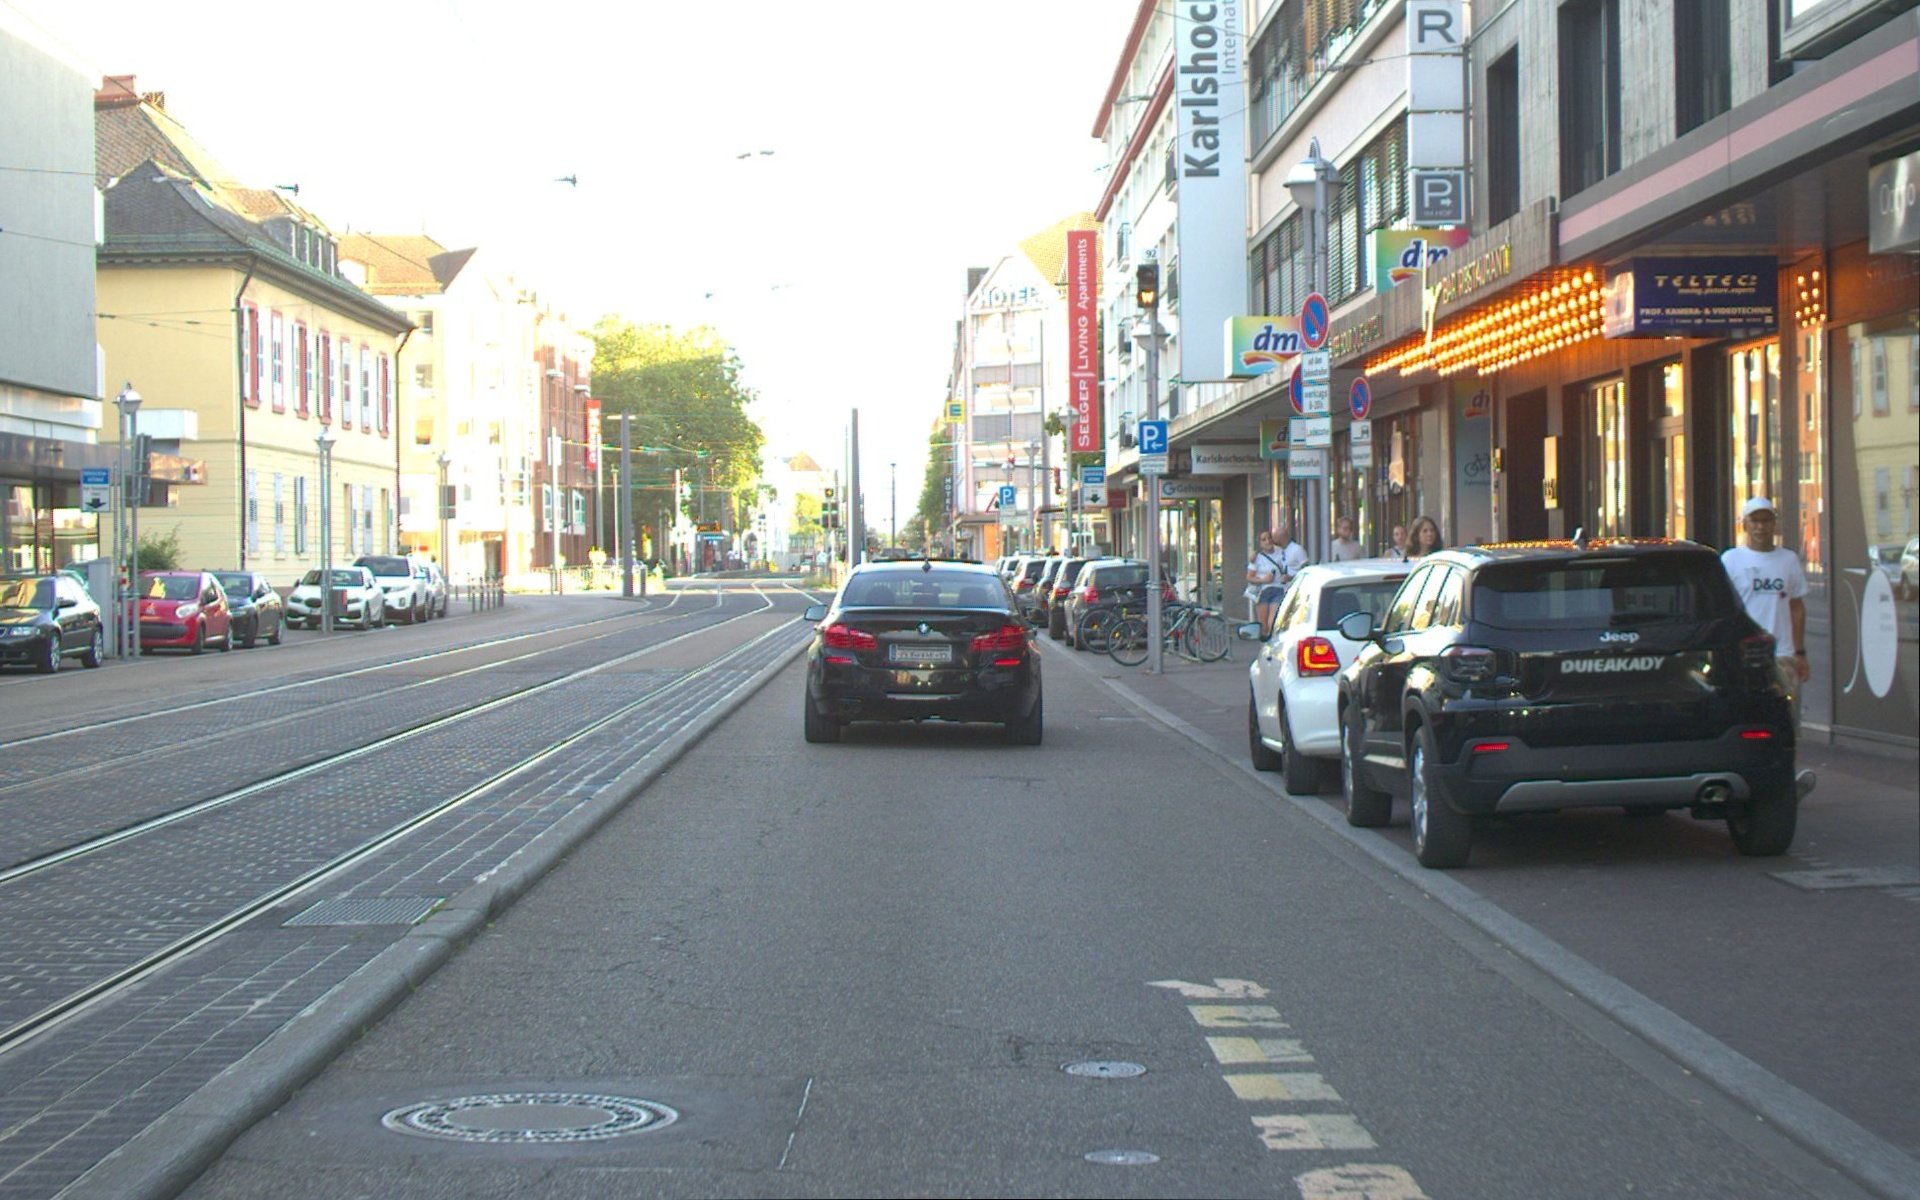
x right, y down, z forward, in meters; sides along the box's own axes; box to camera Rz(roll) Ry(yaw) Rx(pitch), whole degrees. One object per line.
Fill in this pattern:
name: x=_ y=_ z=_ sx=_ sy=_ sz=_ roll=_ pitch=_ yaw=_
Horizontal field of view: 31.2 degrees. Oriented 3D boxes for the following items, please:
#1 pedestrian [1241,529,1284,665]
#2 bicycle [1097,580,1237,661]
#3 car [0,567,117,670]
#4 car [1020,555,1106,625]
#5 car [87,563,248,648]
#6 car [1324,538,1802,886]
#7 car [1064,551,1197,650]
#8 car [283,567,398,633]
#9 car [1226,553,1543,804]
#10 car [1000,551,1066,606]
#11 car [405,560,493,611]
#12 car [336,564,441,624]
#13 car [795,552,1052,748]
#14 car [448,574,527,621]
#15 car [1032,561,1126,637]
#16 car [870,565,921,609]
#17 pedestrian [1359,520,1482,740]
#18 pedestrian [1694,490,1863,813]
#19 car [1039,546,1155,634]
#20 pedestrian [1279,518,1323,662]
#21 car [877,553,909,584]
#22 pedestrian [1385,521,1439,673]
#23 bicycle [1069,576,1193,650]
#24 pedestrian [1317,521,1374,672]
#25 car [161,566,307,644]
pedestrian: x=3.799 y=-0.043 z=43.231 sx=0.475 sy=1.693 sz=0.752 roll=-1 pitch=1 yaw=3
bicycle: x=2.792 y=0.276 z=46.497 sx=1.861 sy=1.076 sz=0.468 roll=0 pitch=-1 yaw=1
car: x=-13.995 y=0.239 z=51.056 sx=1.928 sy=1.430 sz=4.246 roll=0 pitch=1 yaw=-1
car: x=2.295 y=-0.225 z=77.094 sx=1.774 sy=1.543 sz=3.503 roll=0 pitch=0 yaw=-1
car: x=-14.051 y=0.076 z=61.173 sx=1.928 sy=1.430 sz=4.246 roll=0 pitch=1 yaw=-1
car: x=2.949 y=0.479 z=17.584 sx=1.654 sy=1.532 sz=3.886 roll=-2 pitch=1 yaw=-1
car: x=2.719 y=0.005 z=55.573 sx=1.903 sy=1.543 sz=4.000 roll=0 pitch=0 yaw=-1
car: x=-14.325 y=-0.013 z=79.698 sx=1.928 sy=1.430 sz=4.246 roll=-1 pitch=1 yaw=0
car: x=2.711 y=0.450 z=22.630 sx=1.559 sy=1.437 sz=3.709 roll=-3 pitch=1 yaw=0
car: x=2.076 y=-0.617 z=98.535 sx=1.774 sy=1.543 sz=3.503 roll=0 pitch=0 yaw=-1
car: x=-14.816 y=-0.447 z=99.878 sx=1.928 sy=1.430 sz=4.246 roll=0 pitch=1 yaw=-1
car: x=-14.201 y=-0.169 z=85.607 sx=1.928 sy=1.430 sz=4.246 roll=0 pitch=1 yaw=-1
car: x=-0.249 y=0.351 z=28.473 sx=1.953 sy=1.493 sz=4.465 roll=0 pitch=1 yaw=1
car: x=-14.990 y=-0.103 z=109.260 sx=1.928 sy=1.430 sz=4.246 roll=0 pitch=1 yaw=-1
car: x=2.460 y=-0.031 z=71.787 sx=1.774 sy=1.543 sz=3.503 roll=0 pitch=0 yaw=-1
car: x=-2.238 y=-0.452 z=119.946 sx=1.774 sy=1.543 sz=3.503 roll=0 pitch=0 yaw=-1
pedestrian: x=3.510 y=0.219 z=26.225 sx=0.557 sy=1.642 sz=0.760 roll=-1 pitch=1 yaw=-28
pedestrian: x=4.546 y=0.274 z=19.137 sx=0.689 sy=1.734 sz=0.820 roll=-2 pitch=1 yaw=1
car: x=2.448 y=-0.170 z=62.430 sx=1.903 sy=1.543 sz=3.780 roll=0 pitch=0 yaw=-1
pedestrian: x=4.280 y=-0.128 z=43.203 sx=0.488 sy=1.784 sz=0.760 roll=-1 pitch=1 yaw=3
car: x=-4.272 y=-1.994 z=219.017 sx=1.993 sy=1.832 sz=4.000 roll=0 pitch=-2 yaw=-1
pedestrian: x=5.378 y=-0.044 z=40.899 sx=0.508 sy=1.786 sz=0.760 roll=-1 pitch=1 yaw=0
bicycle: x=2.594 y=0.204 z=52.289 sx=1.861 sy=1.115 sz=0.468 roll=0 pitch=-1 yaw=1
pedestrian: x=4.625 y=-0.042 z=41.278 sx=0.554 sy=1.785 sz=0.760 roll=-1 pitch=1 yaw=-1
car: x=-13.943 y=0.067 z=66.226 sx=1.928 sy=1.430 sz=4.246 roll=0 pitch=1 yaw=-1
